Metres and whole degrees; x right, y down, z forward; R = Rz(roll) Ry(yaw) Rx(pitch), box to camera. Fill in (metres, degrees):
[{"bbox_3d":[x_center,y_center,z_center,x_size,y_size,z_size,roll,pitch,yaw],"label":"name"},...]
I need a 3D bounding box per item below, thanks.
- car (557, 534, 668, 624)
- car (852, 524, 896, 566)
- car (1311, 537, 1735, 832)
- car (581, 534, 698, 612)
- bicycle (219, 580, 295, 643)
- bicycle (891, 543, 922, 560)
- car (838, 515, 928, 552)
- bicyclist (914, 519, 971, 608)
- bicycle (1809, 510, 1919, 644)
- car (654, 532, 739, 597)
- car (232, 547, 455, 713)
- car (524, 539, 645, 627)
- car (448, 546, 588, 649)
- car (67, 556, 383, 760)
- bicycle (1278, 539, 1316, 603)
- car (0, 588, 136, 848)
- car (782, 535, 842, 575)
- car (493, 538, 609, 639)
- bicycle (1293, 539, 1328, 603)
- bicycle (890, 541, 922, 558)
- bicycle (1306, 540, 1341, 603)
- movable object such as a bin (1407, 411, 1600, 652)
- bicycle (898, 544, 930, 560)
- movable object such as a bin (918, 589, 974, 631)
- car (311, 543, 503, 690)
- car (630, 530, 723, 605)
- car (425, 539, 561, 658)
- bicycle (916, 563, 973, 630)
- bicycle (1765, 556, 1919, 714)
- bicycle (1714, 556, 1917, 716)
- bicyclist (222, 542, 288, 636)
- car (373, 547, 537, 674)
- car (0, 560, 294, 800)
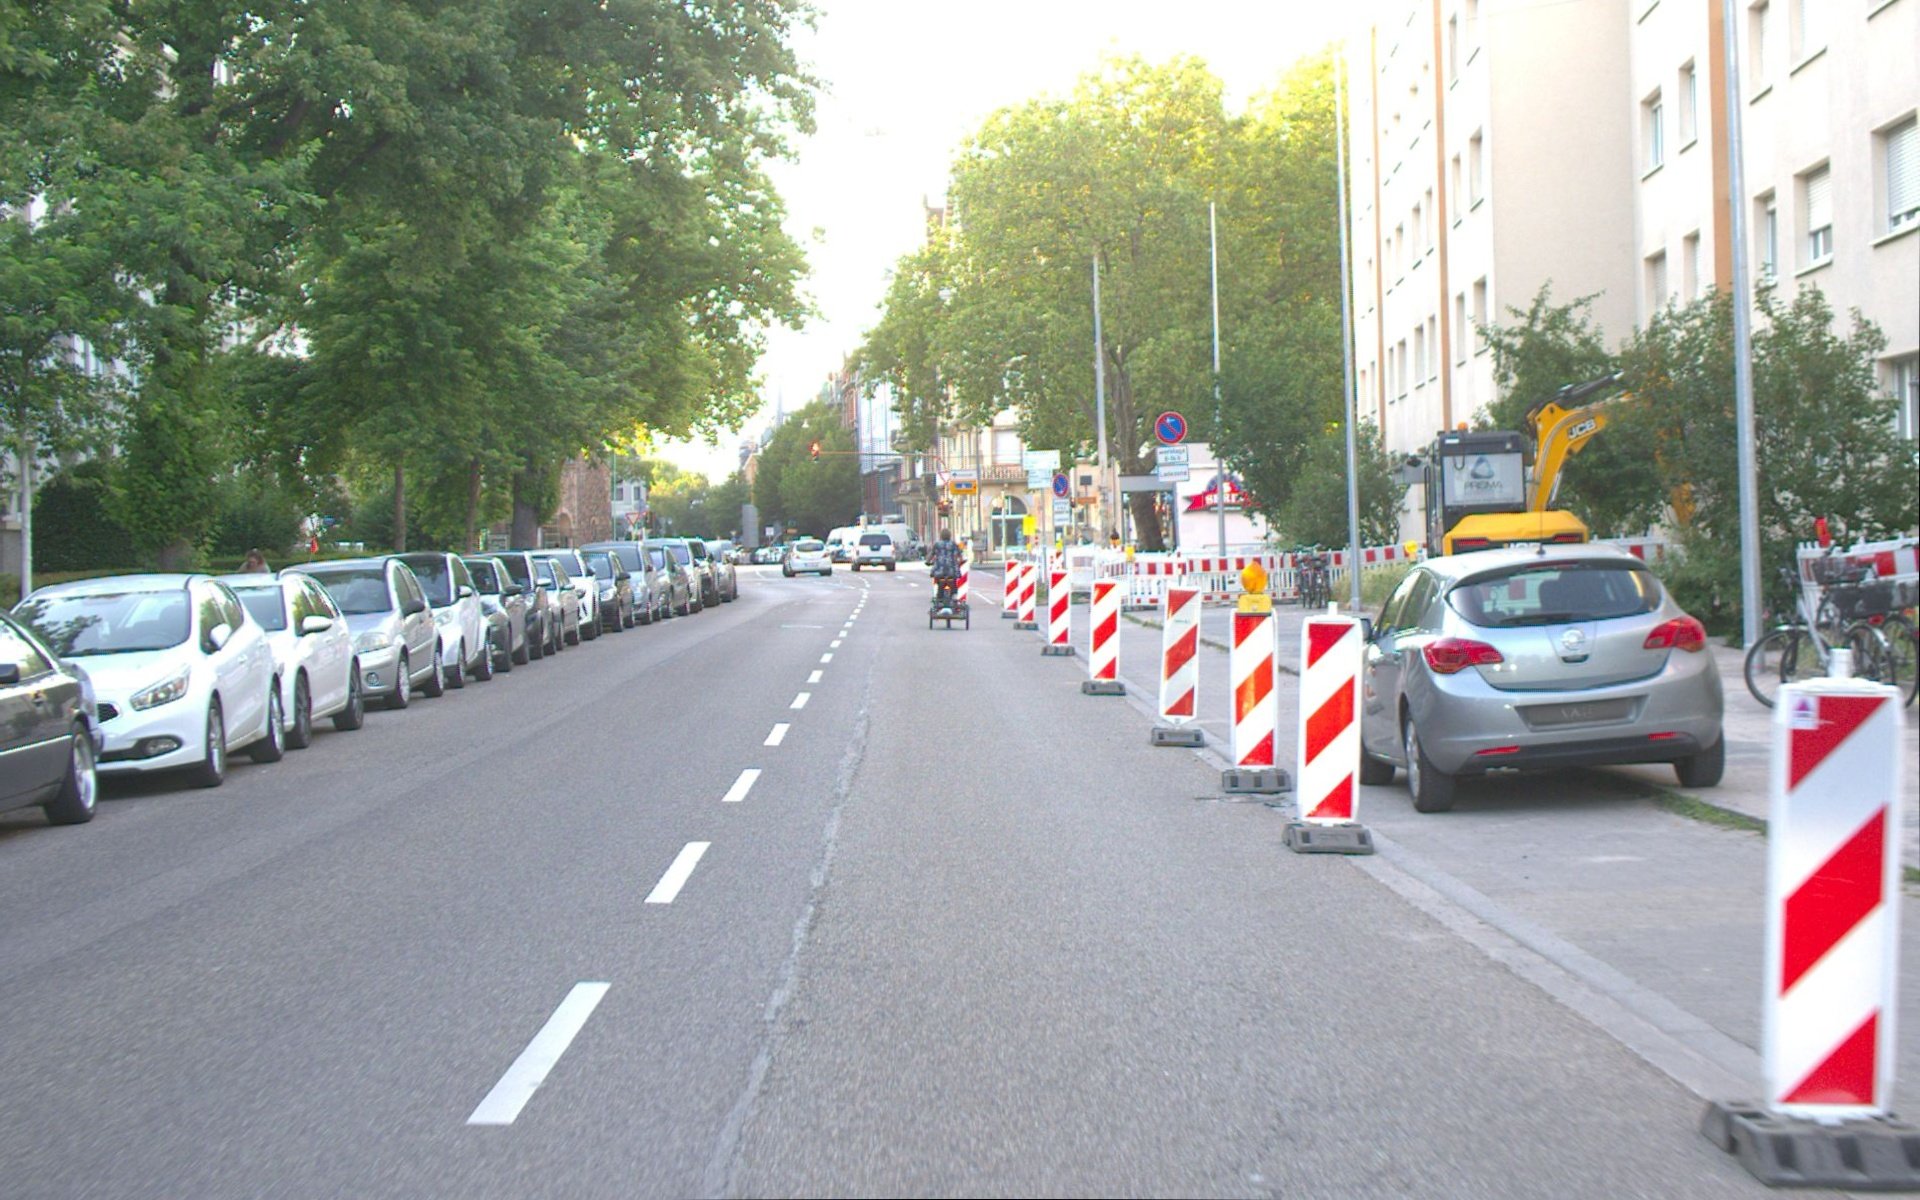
[{"bbox_3d":[-6.723,-0.432,66.929,1.707,1.595,4.117,-4,1,-1],"label":"car"},{"bbox_3d":[-3.942,-2.491,156.371,1.866,1.808,4.000,-2,1,-2],"label":"car"},{"bbox_3d":[3.346,0.428,21.295,1.776,1.485,4.573,-5,1,0],"label":"car"},{"bbox_3d":[-6.650,-0.590,71.733,1.733,1.492,4.270,-3,1,3],"label":"car"},{"bbox_3d":[-10.615,0.172,51.974,0.808,0.908,1.762,0,1,-1],"label":"bicycle"},{"bbox_3d":[-3.311,-3.001,212.379,1.914,0.965,0.546,-1,1,-2],"label":"bicycle"},{"bbox_3d":[-4.892,-4.257,218.582,5.807,2.280,2.071,-2,1,-44],"label":"car"},{"bbox_3d":[-0.336,-0.682,63.555,0.939,1.576,1.146,-4,1,-1],"label":"bicyclist"},{"bbox_3d":[8.702,-0.222,31.736,1.592,1.217,0.485,-1,1,-7],"label":"bicycle"},{"bbox_3d":[-7.050,-0.972,92.284,1.953,1.611,4.605,-3,1,-1],"label":"car"},{"bbox_3d":[-6.267,0.265,35.294,1.590,1.500,3.800,-4,1,-1],"label":"car"},{"bbox_3d":[-6.795,-0.331,62.511,1.707,1.447,3.843,-4,1,0],"label":"car"},{"bbox_3d":[-6.733,-0.068,52.710,1.590,1.399,4.181,-4,1,-1],"label":"car"},{"bbox_3d":[-6.088,0.420,28.954,1.692,1.454,4.484,-4,1,-1],"label":"car"},{"bbox_3d":[6.565,-0.571,67.037,0.451,1.217,1.911,-1,1,-3],"label":"bicycle"},{"bbox_3d":[-5.960,0.684,19.165,1.674,1.327,4.580,-4,1,-2],"label":"car"},{"bbox_3d":[-6.011,-1.845,140.205,1.866,1.580,3.999,-2,1,5],"label":"car"},{"bbox_3d":[-6.877,-0.220,58.116,1.590,1.533,4.207,-4,1,-3],"label":"car"},{"bbox_3d":[6.839,-0.571,67.130,0.398,1.217,1.911,-1,1,-3],"label":"bicycle"},{"bbox_3d":[-3.336,-3.113,212.145,1.914,0.965,0.546,-1,1,-2],"label":"bicycle"},{"bbox_3d":[7.091,-0.569,67.065,0.398,1.217,1.826,-1,1,-3],"label":"bicycle"},{"bbox_3d":[6.328,-0.798,40.274,1.933,2.683,2.891,-1,1,4],"label":"movable object such as a bin"},{"bbox_3d":[-2.858,-3.005,213.172,1.916,0.965,0.545,-1,1,14],"label":"bicycle"},{"bbox_3d":[-0.255,0.177,61.870,0.939,0.686,0.993,-4,1,-1],"label":"movable object such as a bin"},{"bbox_3d":[-6.335,0.160,39.647,1.590,1.524,2.921,-4,1,1],"label":"car"},{"bbox_3d":[-6.926,-0.819,84.446,1.953,1.713,4.771,-3,1,-2],"label":"car"},{"bbox_3d":[-6.564,-0.047,48.563,1.523,1.524,3.165,-4,1,-2],"label":"car"},{"bbox_3d":[-0.297,-0.076,63.542,0.939,1.168,2.359,-4,1,-1],"label":"bicycle"},{"bbox_3d":[6.986,0.247,26.617,0.626,1.168,1.817,-1,1,-17],"label":"bicycle"},{"bbox_3d":[6.476,0.250,26.110,0.556,1.168,1.817,-1,1,-20],"label":"bicycle"},{"bbox_3d":[-10.658,-0.171,51.982,0.808,1.399,0.974,0,1,-1],"label":"bicyclist"},{"bbox_3d":[-6.456,0.099,44.292,1.590,1.461,4.102,-4,1,-3],"label":"car"},{"bbox_3d":[-5.925,0.509,24.386,1.692,1.454,4.146,-4,1,-3],"label":"car"}]
